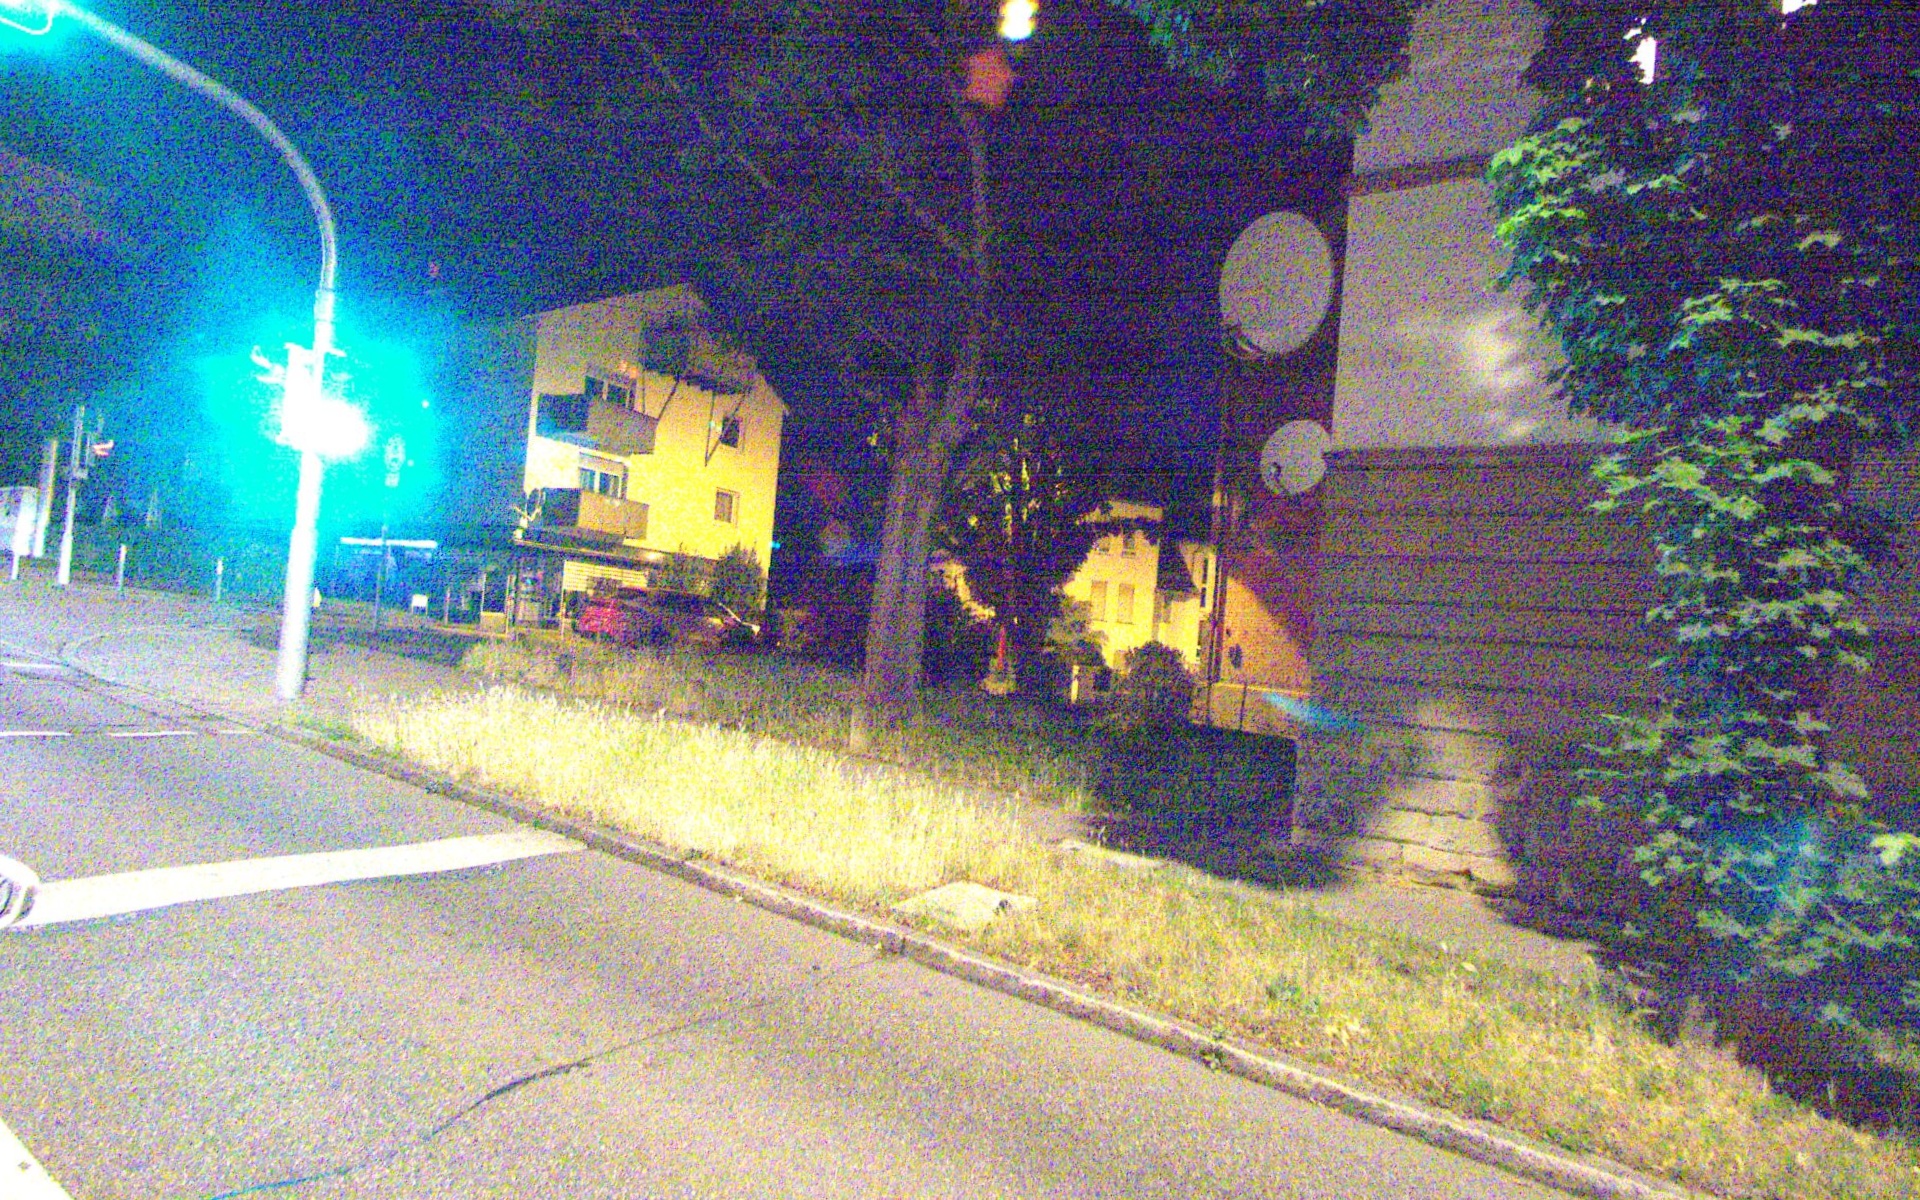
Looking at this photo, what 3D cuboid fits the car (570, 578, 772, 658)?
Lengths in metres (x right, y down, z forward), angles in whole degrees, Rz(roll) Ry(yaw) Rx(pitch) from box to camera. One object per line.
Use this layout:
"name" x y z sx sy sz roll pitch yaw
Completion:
"car" -6.546 0.456 23.175 1.740 1.295 4.131 6 -3 39
